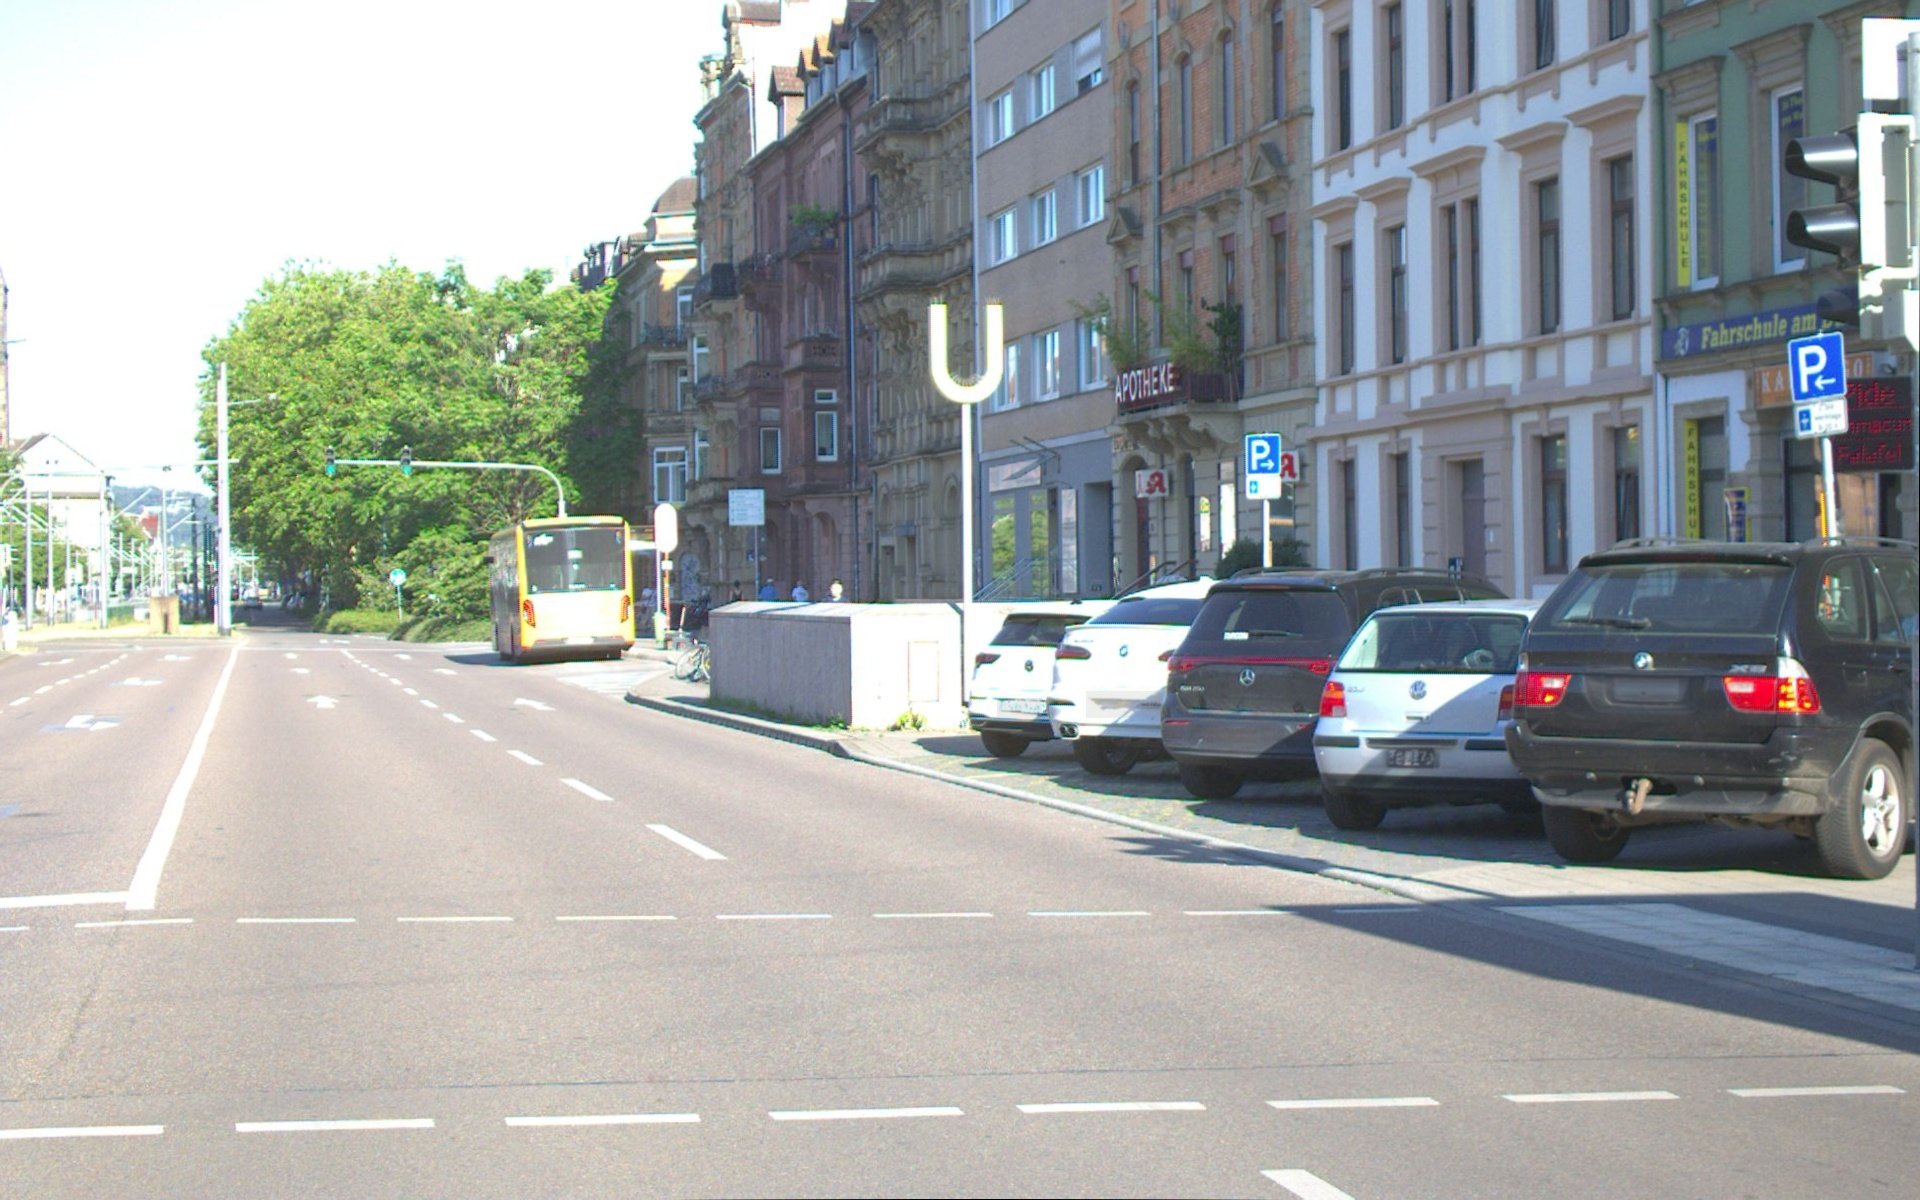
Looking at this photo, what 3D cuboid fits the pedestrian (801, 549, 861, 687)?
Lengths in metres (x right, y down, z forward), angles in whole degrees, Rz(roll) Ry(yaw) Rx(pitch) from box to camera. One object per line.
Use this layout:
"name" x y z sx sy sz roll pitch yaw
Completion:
"pedestrian" -1.915 0.260 51.127 0.750 2.006 0.698 -2 3 -11

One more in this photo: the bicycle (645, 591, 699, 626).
"bicycle" -10.607 0.314 126.799 1.883 1.234 0.490 -2 -1 -24

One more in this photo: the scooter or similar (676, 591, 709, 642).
"scooter or similar" -6.745 0.426 86.552 0.431 1.245 1.295 -2 0 -21

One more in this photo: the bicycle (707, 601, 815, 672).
"bicycle" -3.347 0.610 57.830 1.764 1.183 0.470 0 1 -12

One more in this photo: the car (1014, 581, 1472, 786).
"car" 2.453 0.650 28.821 1.958 1.565 4.243 1 0 35

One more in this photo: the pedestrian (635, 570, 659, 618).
"pedestrian" -11.055 -0.211 121.497 0.702 1.650 1.137 -1 0 -12

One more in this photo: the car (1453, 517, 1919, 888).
"car" 4.642 0.495 18.997 1.958 1.808 4.242 1 0 37

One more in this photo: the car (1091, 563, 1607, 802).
"car" 2.952 0.554 25.308 1.958 1.592 4.242 1 0 35

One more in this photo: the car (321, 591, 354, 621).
"car" -33.656 0.309 185.899 1.643 1.506 4.184 -2 1 -11

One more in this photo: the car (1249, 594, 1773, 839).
"car" 3.605 0.706 21.964 1.786 1.395 3.885 1 -1 35

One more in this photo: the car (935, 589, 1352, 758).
"car" 1.794 0.648 32.426 1.959 1.459 4.104 0 0 37

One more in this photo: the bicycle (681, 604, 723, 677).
"bicycle" -4.246 0.650 56.547 0.468 1.143 1.771 0 1 -11

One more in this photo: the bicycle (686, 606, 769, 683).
"bicycle" -3.656 0.692 53.906 0.468 1.143 1.770 0 1 -34

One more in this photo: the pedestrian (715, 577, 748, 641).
"pedestrian" -7.013 0.277 105.550 0.822 1.923 1.137 -1 0 -12

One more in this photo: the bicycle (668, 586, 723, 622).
"bicycle" -9.540 0.146 124.191 1.883 1.234 0.490 -2 -1 -24

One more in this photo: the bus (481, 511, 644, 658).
"bus" -9.679 -0.376 82.525 2.714 3.170 12.544 -2 1 -12

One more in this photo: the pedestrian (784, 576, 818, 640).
"pedestrian" -4.857 0.248 105.038 0.822 1.923 1.137 -1 0 -12

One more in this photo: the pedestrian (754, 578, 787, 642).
"pedestrian" -5.780 0.296 104.859 0.822 1.923 1.137 -1 0 -12
